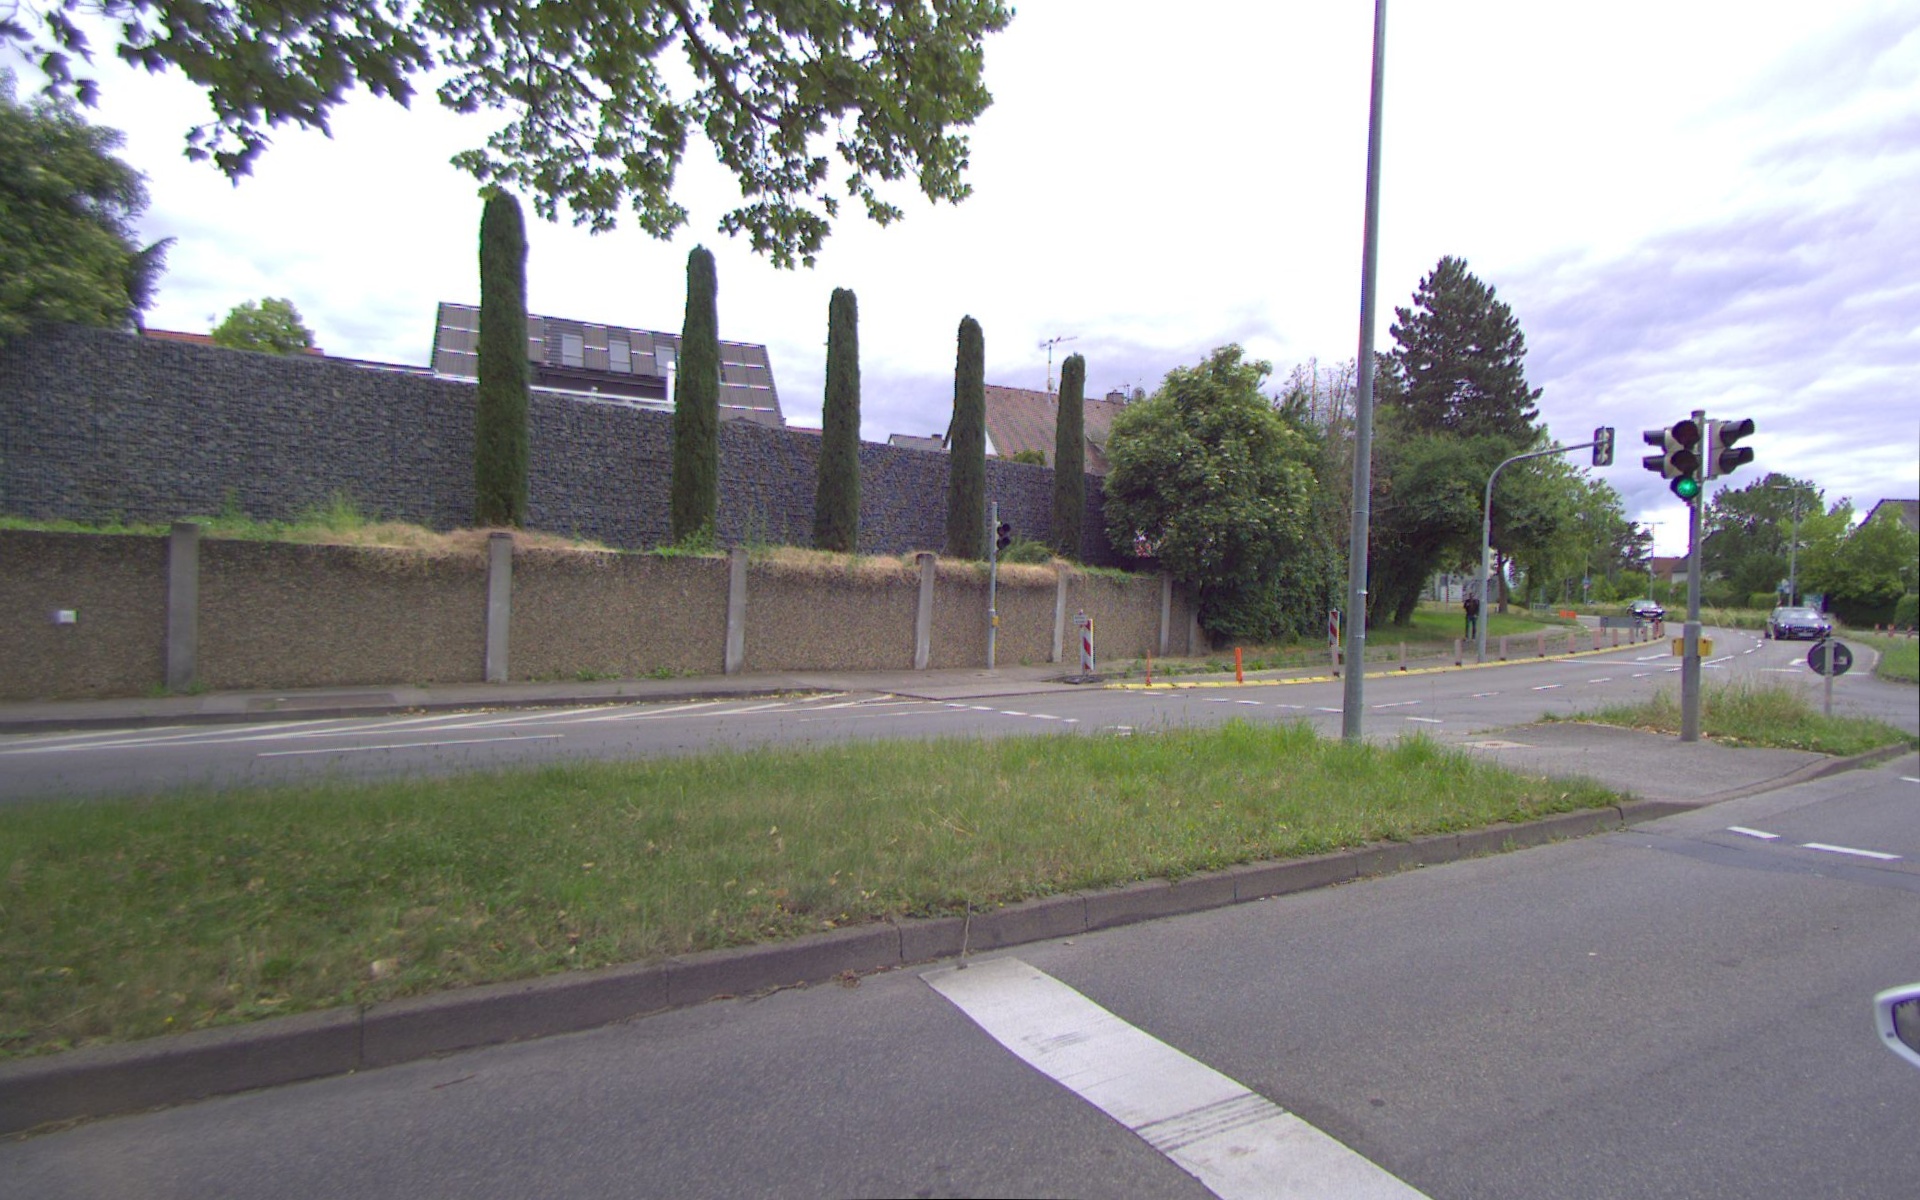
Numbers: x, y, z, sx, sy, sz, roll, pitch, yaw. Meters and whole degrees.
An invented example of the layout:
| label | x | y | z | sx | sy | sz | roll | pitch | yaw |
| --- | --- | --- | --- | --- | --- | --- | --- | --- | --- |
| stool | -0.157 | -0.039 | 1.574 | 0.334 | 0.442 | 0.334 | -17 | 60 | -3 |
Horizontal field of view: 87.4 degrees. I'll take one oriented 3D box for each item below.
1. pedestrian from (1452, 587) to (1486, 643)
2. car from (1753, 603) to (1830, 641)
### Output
| label | x | y | z | sx | sy | sz | roll | pitch | yaw |
| --- | --- | --- | --- | --- | --- | --- | --- | --- | --- |
| pedestrian | 19.222 | 0.561 | 37.940 | 0.937 | 2.041 | 0.851 | 3 | 2 | 37 |
| car | 38.179 | 0.948 | 46.213 | 1.812 | 1.653 | 4.255 | 0 | 0 | 27 |
